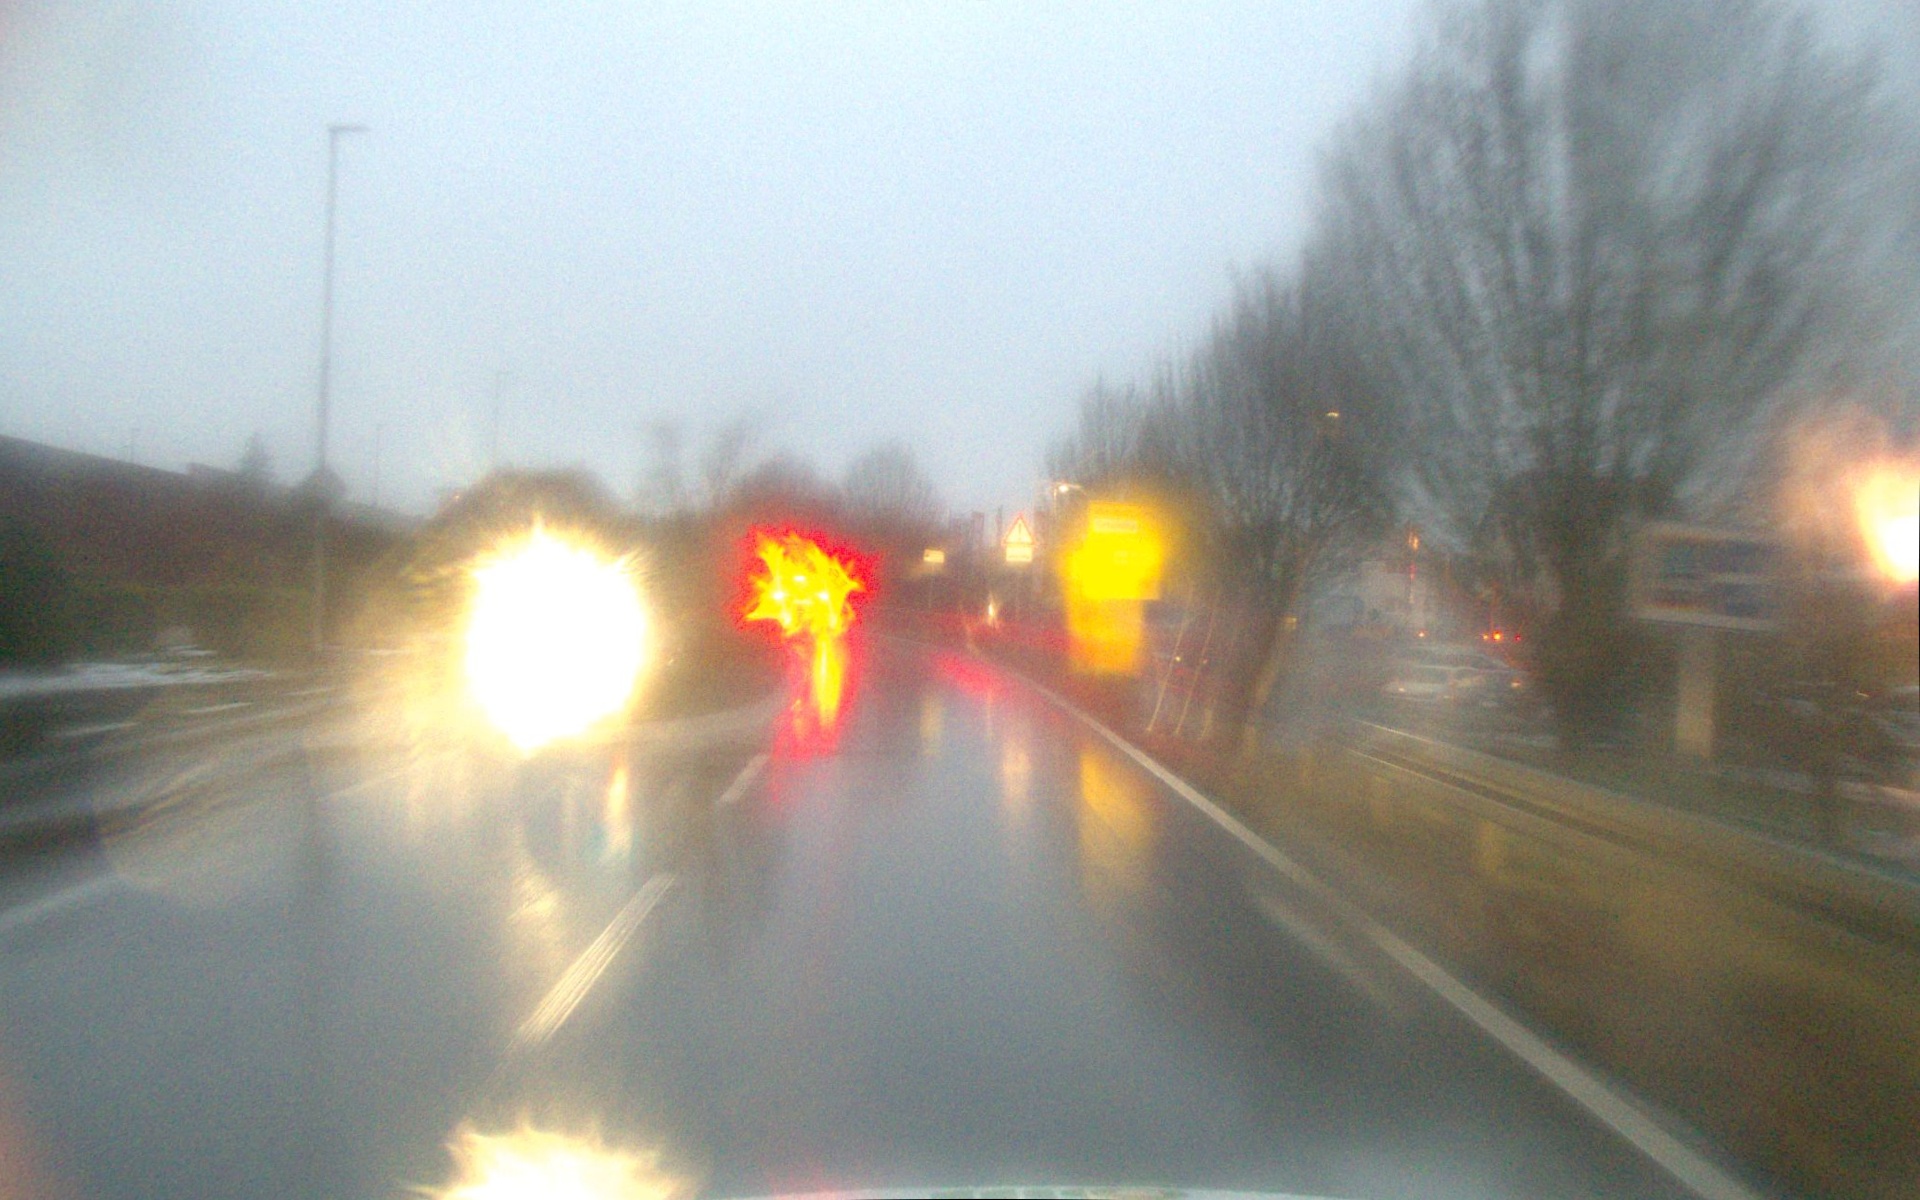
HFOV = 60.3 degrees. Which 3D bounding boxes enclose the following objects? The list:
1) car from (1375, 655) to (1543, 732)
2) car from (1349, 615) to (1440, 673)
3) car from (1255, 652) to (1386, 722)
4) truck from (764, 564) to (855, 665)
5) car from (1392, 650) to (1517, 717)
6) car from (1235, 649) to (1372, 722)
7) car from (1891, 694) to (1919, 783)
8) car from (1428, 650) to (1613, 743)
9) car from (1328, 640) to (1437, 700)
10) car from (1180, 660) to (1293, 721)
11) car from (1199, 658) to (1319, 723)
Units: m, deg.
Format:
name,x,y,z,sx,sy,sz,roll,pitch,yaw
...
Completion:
name,x,y,z,sx,sy,sz,roll,pitch,yaw
car,12.986,2.446,43.242,3.902,1.825,2.001,2,-3,7
car,22.446,2.259,85.445,4.263,2.806,2.099,1,-3,23
car,11.493,2.769,52.891,3.902,2.049,2.001,2,-3,7
truck,-4.863,0.395,52.646,2.484,2.919,5.912,3,0,-8
car,19.283,3.258,64.541,4.273,2.420,2.095,0,-4,33
car,10.405,2.596,50.321,3.902,2.049,2.001,2,-3,7
car,23.095,3.143,36.600,4.273,1.951,2.095,0,-4,33
car,13.544,2.332,40.164,3.902,2.049,2.001,2,-3,7
car,18.337,3.028,71.739,4.263,2.420,2.099,1,-3,23
car,9.960,3.264,59.855,3.902,2.049,2.001,2,-3,7
car,10.182,3.102,56.627,3.902,2.049,2.001,2,-3,7
